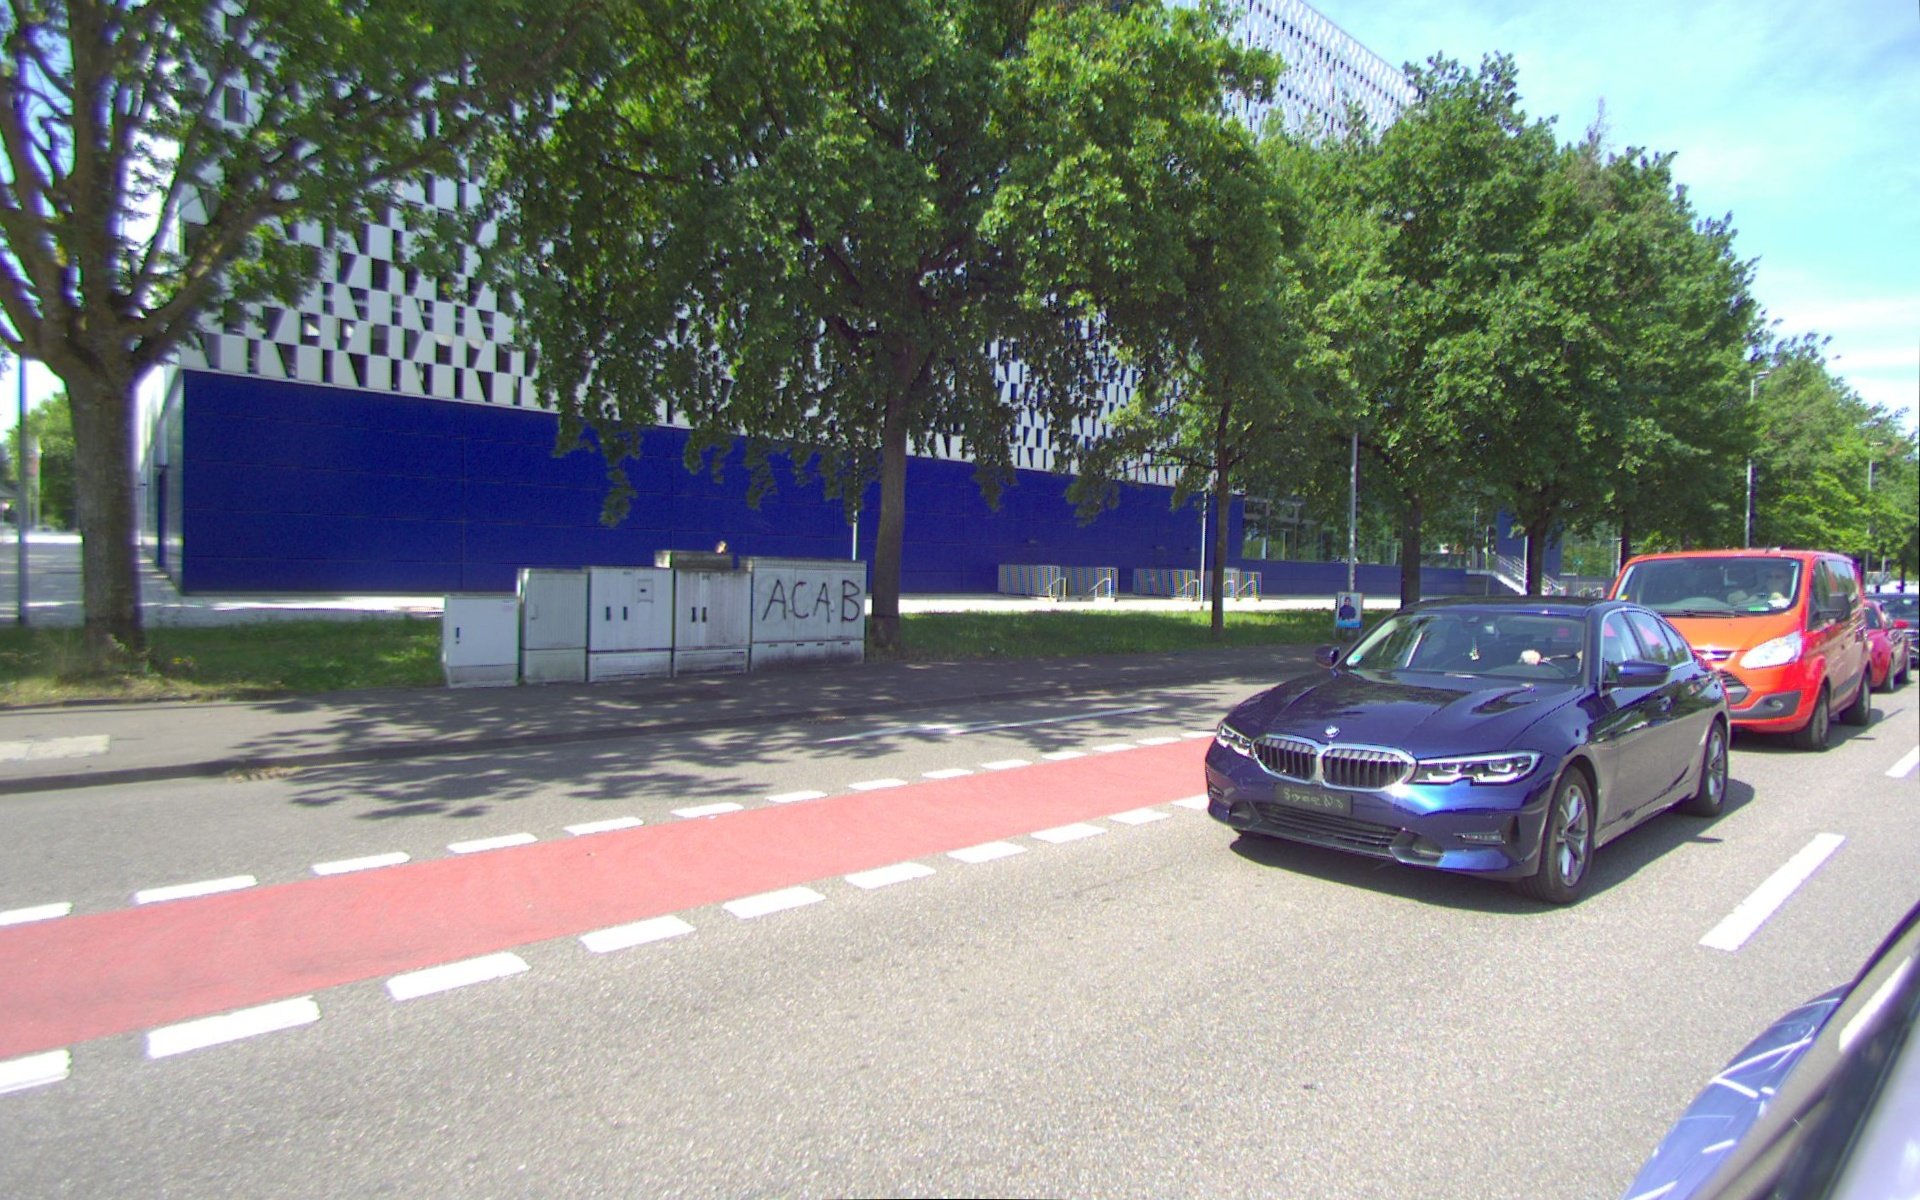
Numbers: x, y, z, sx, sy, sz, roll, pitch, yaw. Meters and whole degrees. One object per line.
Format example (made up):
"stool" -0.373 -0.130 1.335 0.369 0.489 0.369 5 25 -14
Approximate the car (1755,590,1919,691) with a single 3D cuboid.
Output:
"car" 14.476 0.562 16.573 3.849 1.440 1.690 0 1 -43

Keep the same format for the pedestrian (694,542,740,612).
"pedestrian" -5.585 -0.527 23.267 0.767 1.565 0.680 0 2 -41

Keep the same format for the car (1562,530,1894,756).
"car" 8.460 0.345 10.970 4.727 1.931 2.012 0 0 -42

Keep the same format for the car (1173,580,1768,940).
"car" 3.414 0.628 6.303 4.460 1.447 1.798 0 2 -42

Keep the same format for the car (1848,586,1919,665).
"car" 20.162 0.489 21.394 3.932 1.559 1.647 0 -1 -43
